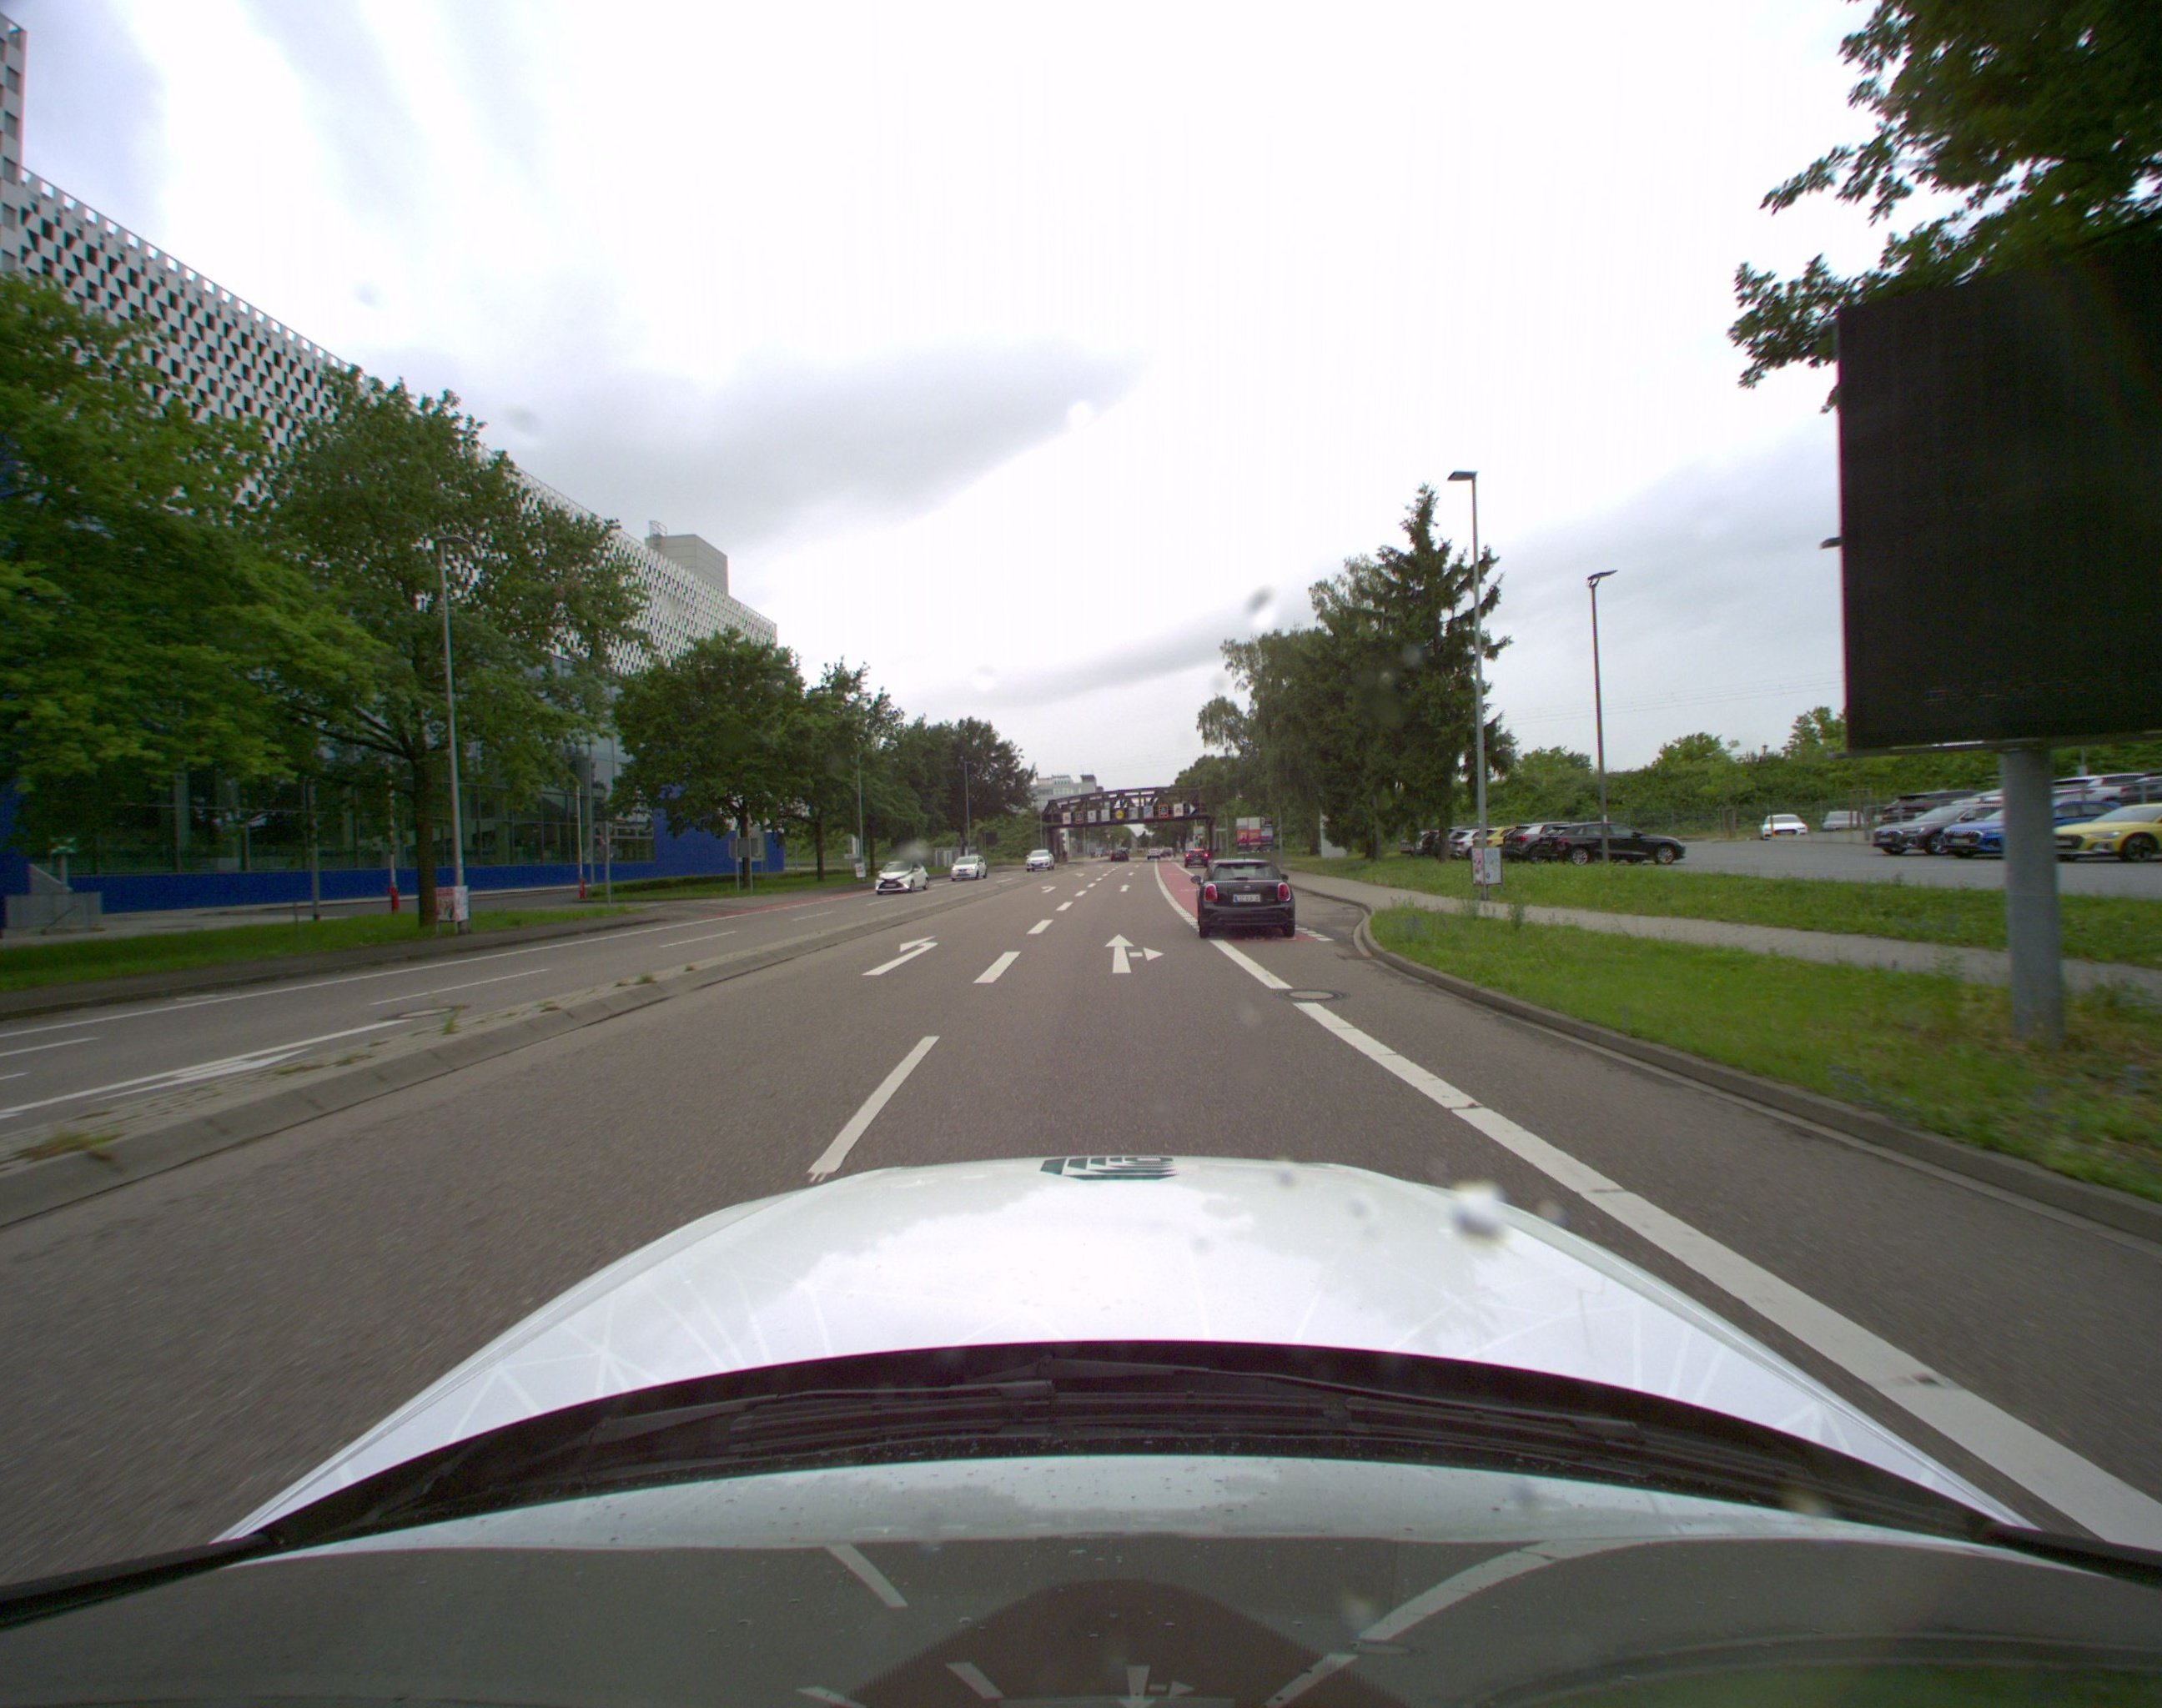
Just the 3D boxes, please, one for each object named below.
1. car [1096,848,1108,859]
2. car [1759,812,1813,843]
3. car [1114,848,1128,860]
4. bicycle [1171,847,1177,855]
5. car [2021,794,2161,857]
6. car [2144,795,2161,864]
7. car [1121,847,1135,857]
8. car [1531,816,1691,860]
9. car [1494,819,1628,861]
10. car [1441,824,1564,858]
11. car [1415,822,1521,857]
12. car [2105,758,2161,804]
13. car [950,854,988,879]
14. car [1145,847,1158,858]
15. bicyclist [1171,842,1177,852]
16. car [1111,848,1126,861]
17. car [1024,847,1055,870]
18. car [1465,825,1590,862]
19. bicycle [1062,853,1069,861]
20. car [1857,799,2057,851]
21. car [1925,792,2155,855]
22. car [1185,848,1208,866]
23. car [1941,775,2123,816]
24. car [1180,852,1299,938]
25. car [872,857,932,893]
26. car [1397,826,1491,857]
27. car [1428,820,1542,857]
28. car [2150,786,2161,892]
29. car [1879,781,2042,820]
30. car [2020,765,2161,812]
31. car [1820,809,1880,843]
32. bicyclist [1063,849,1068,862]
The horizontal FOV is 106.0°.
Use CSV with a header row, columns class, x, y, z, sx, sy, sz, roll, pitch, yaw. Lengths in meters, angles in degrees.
class,x,y,z,sx,sy,sz,roll,pitch,yaw
car,5.790,-0.185,222.989,2.315,2.826,5.962,-2,0,8
car,38.427,-1.392,44.462,1.880,1.566,4.705,1,0,37
car,5.492,-0.037,111.559,1.766,1.652,3.671,-1,0,2
bicycle,14.737,-0.393,128.724,0.813,1.212,2.686,-3,0,5
car,27.367,-0.740,20.845,4.279,1.506,1.904,-1,0,3
car,27.047,-0.530,18.005,4.275,1.601,1.906,1,0,6
car,6.877,-0.299,119.314,1.955,1.527,5.012,-1,0,1
car,17.307,-0.518,26.762,3.972,1.353,1.905,1,0,5
car,17.276,-0.496,29.458,3.735,1.423,1.955,1,0,3
car,17.903,-0.543,34.751,4.276,1.382,1.905,1,0,5
car,18.899,-0.693,39.912,4.280,1.601,1.970,1,0,2
car,33.555,-2.137,24.022,4.280,1.247,1.834,1,0,2
car,-6.897,0.751,50.515,1.670,1.428,3.652,-2,0,2
car,10.404,-0.273,120.304,1.817,1.600,3.777,-1,0,2
bicyclist,14.703,-1.113,128.728,0.813,1.630,1.236,-3,0,4
car,4.800,0.064,104.866,1.762,1.527,3.671,-1,0,2
car,-3.235,0.337,63.976,1.809,1.587,4.519,-4,0,4
car,17.650,-0.407,32.335,3.974,1.379,1.814,1,0,6
bicycle,-2.227,0.446,117.819,0.709,1.187,2.374,0,-1,5
car,28.144,-0.915,26.294,4.279,1.601,1.904,1,0,3
car,27.589,-0.886,23.550,4.279,1.626,1.904,-2,2,3
car,8.634,0.202,61.155,1.638,1.281,3.427,-1,0,8
car,33.967,-2.075,29.177,4.280,1.290,1.834,1,0,2
car,2.935,0.697,15.834,1.673,1.431,3.775,-1,0,2
car,-8.163,0.923,37.415,1.617,1.423,3.616,-3,0,4
car,19.447,-0.671,43.770,4.285,1.489,1.739,-1,0,-1
car,18.386,-0.718,37.241,4.276,1.601,1.972,1,0,5
car,16.695,-0.173,10.174,4.169,1.431,1.741,1,0,4
car,34.062,-2.051,31.626,4.280,1.373,1.834,1,0,2
car,33.769,-2.103,26.529,4.280,1.382,1.701,1,0,2
car,40.188,-1.408,42.649,1.944,1.652,4.339,1,0,39
bicyclist,-2.229,0.169,117.792,0.698,1.874,1.021,0,-1,5
